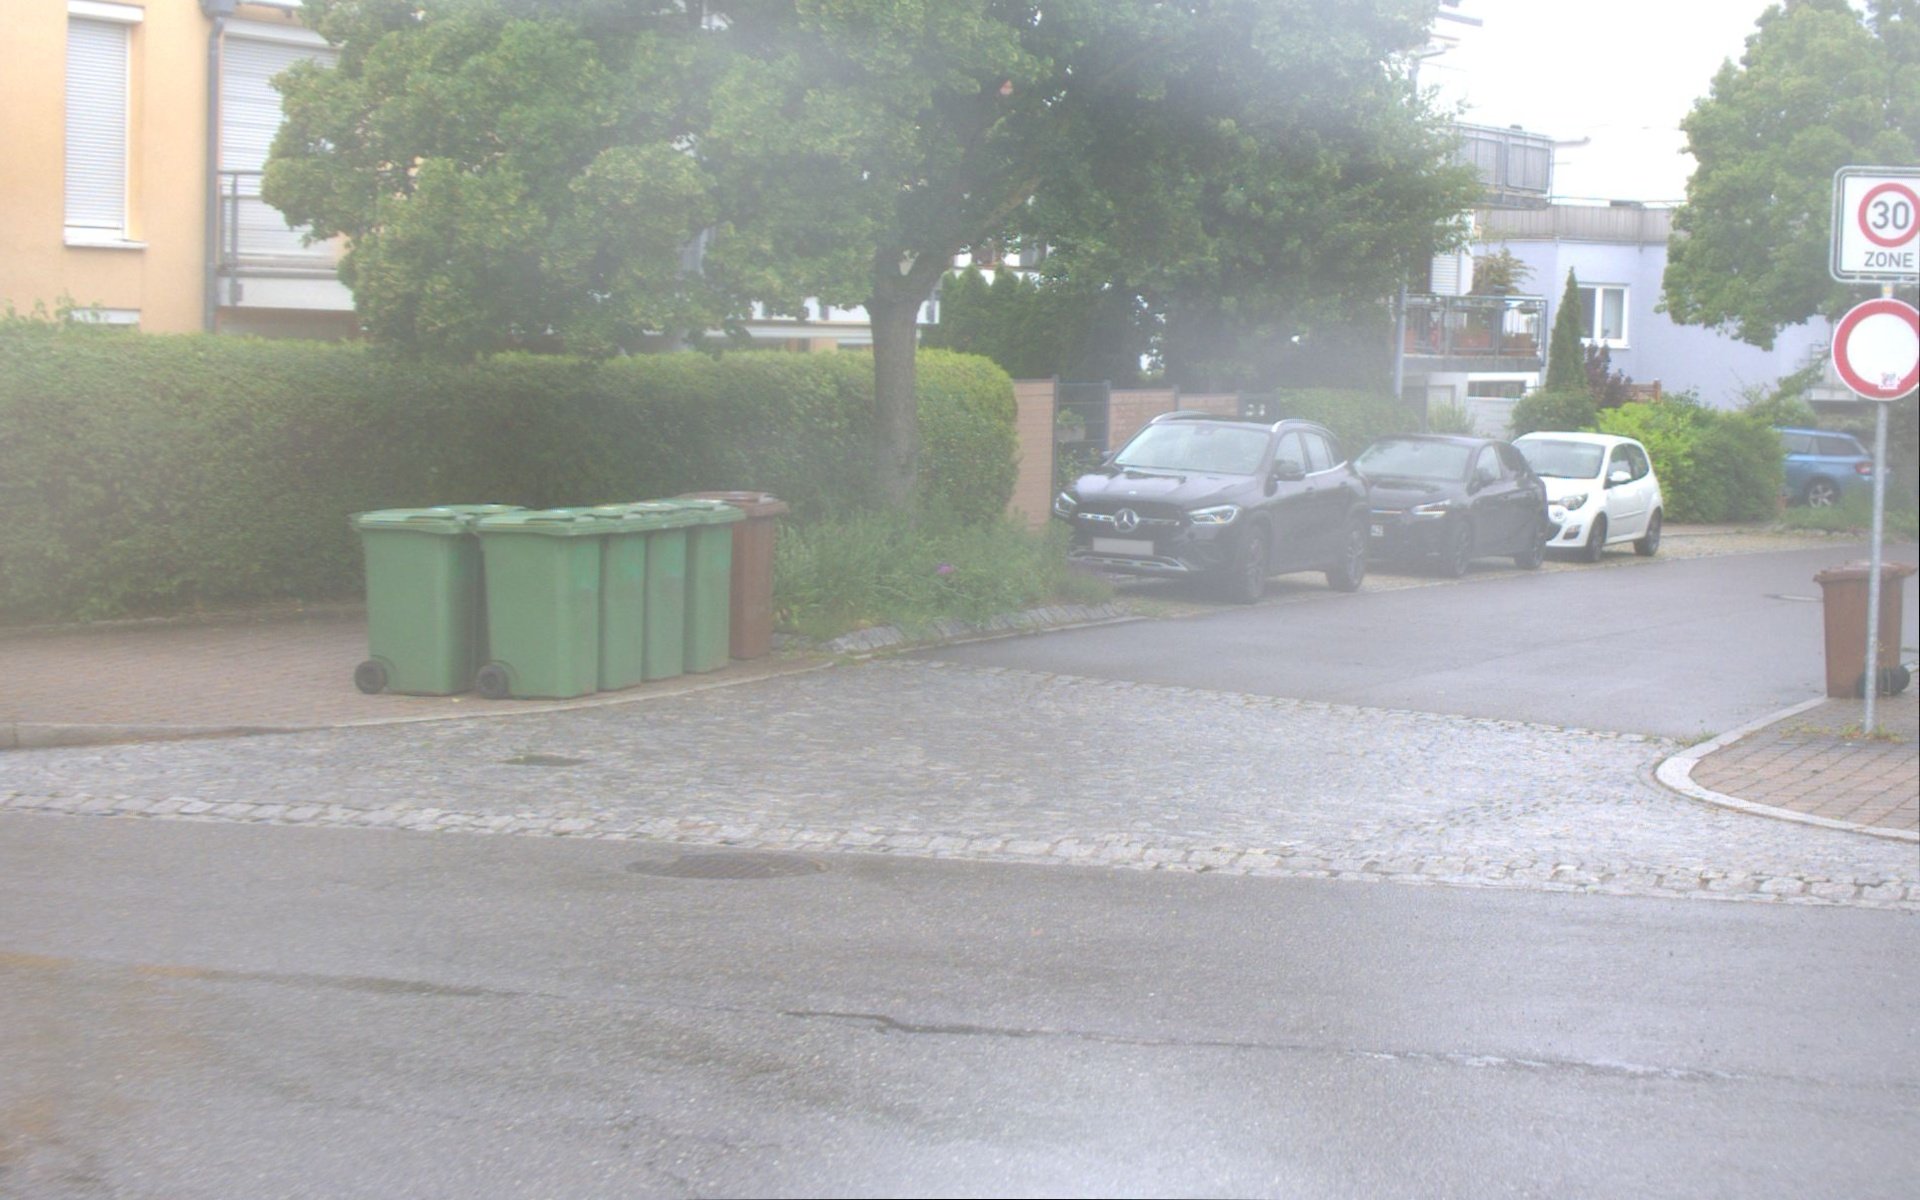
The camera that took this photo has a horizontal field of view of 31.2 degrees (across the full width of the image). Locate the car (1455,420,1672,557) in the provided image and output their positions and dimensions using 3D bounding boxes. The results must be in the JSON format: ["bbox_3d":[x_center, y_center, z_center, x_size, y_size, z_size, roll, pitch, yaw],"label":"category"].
[{"bbox_3d":[7.246,-1.359,41.093,1.513,1.471,3.269,5,5,28],"label":"car"}]

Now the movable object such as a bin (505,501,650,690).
[{"bbox_3d":[-2.271,-0.034,20.418,0.695,1.071,0.543,2,4,17],"label":"movable object such as a bin"}]

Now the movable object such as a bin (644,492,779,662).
[{"bbox_3d":[-1.612,-0.159,22.333,0.695,1.051,0.605,2,4,17],"label":"movable object such as a bin"}]

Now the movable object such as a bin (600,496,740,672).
[{"bbox_3d":[-1.812,-0.111,21.550,0.695,1.051,0.605,2,4,17],"label":"movable object such as a bin"}]

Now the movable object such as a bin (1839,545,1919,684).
[{"bbox_3d":[6.612,0.096,24.384,0.571,0.927,0.529,4,4,30],"label":"movable object such as a bin"}]

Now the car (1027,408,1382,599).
[{"bbox_3d":[2.304,-0.929,31.307,1.778,1.513,4.132,5,5,25],"label":"car"}]

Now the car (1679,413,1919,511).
[{"bbox_3d":[15.125,-2.491,61.771,3.992,1.562,1.906,4,4,22],"label":"car"}]

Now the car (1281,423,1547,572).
[{"bbox_3d":[4.897,-1.129,36.720,1.638,1.404,3.600,5,5,27],"label":"car"}]

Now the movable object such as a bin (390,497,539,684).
[{"bbox_3d":[-2.969,-0.065,20.625,0.695,1.068,0.597,2,4,17],"label":"movable object such as a bin"}]

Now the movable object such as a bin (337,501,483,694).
[{"bbox_3d":[-3.198,-0.023,20.028,0.666,1.069,0.543,2,4,18],"label":"movable object such as a bin"}]

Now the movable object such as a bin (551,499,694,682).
[{"bbox_3d":[-2.060,-0.069,20.984,0.695,1.063,0.578,2,4,17],"label":"movable object such as a bin"}]

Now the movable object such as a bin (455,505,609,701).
[{"bbox_3d":[-2.468,0.007,19.842,0.695,1.071,0.602,2,4,17],"label":"movable object such as a bin"}]

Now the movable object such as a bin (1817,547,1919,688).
[{"bbox_3d":[6.338,0.116,23.898,0.571,0.927,0.529,4,4,30],"label":"movable object such as a bin"}]
